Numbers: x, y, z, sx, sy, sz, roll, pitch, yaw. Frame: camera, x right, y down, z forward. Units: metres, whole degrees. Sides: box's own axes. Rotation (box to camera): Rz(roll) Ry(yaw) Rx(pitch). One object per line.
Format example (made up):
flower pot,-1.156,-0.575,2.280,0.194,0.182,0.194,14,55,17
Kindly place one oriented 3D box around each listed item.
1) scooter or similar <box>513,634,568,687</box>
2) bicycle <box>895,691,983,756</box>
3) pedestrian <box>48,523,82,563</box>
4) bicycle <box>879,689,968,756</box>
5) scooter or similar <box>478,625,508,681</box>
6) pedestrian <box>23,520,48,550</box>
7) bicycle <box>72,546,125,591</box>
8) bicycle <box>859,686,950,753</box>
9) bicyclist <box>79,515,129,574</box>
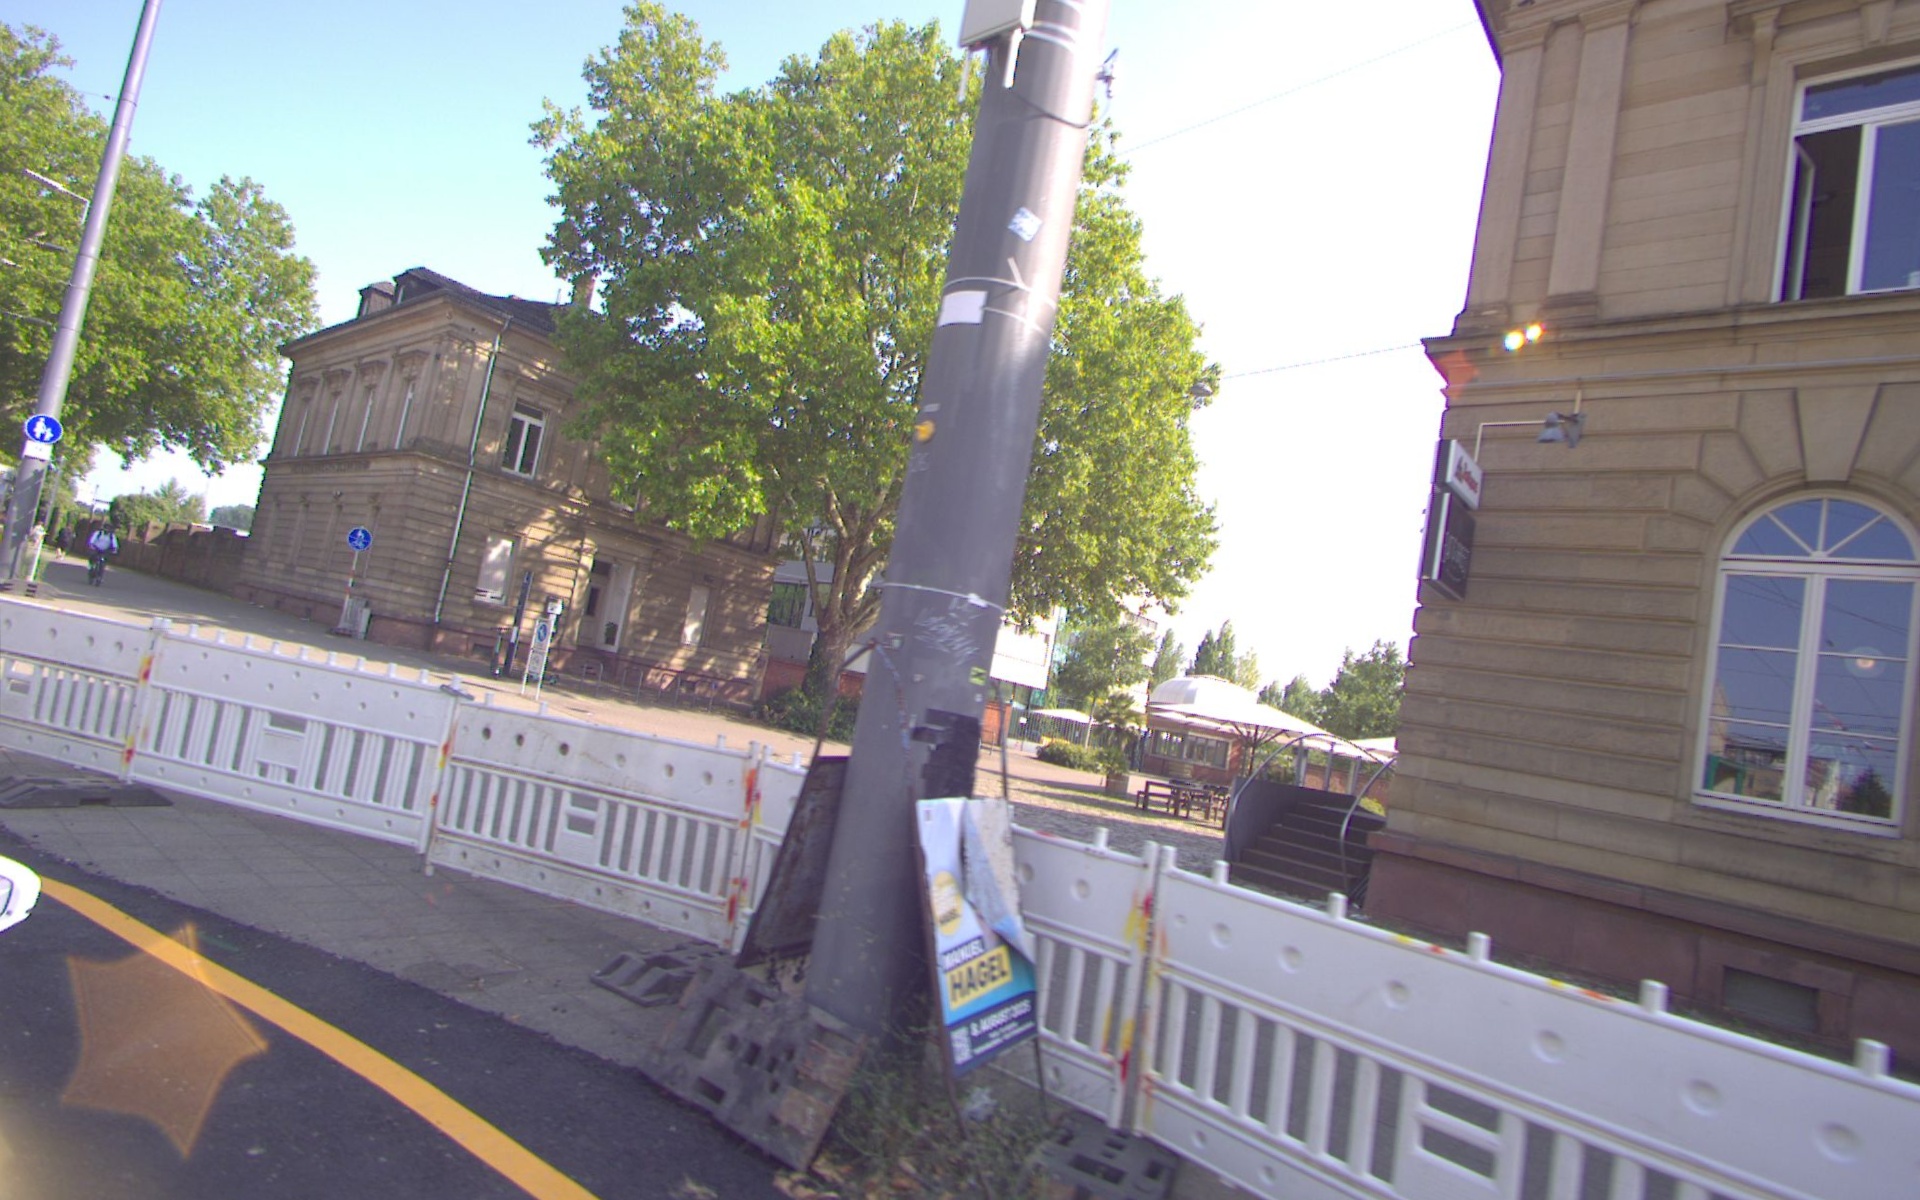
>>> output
scooter or similar,-10.865,1.583,26.086,0.415,1.222,1.258,10,-4,17
bicycle,-0.794,4.562,37.336,3.239,1.819,0.848,6,-6,41
pedestrian,-41.804,-2.657,46.974,0.998,1.702,0.820,6,-6,42
bicycle,-1.353,4.421,36.475,3.239,1.819,0.848,6,-6,41
scooter or similar,-11.456,1.293,24.649,0.418,1.222,1.247,13,-4,-25
pedestrian,-57.044,-4.014,62.087,0.934,1.620,0.806,6,-5,42
bicycle,-25.621,-0.947,29.905,1.875,1.051,0.719,7,-6,39
bicycle,-1.998,4.217,35.770,3.239,1.819,0.848,6,-6,41
bicyclist,-25.488,-1.660,29.956,0.942,1.557,0.719,7,-6,39
